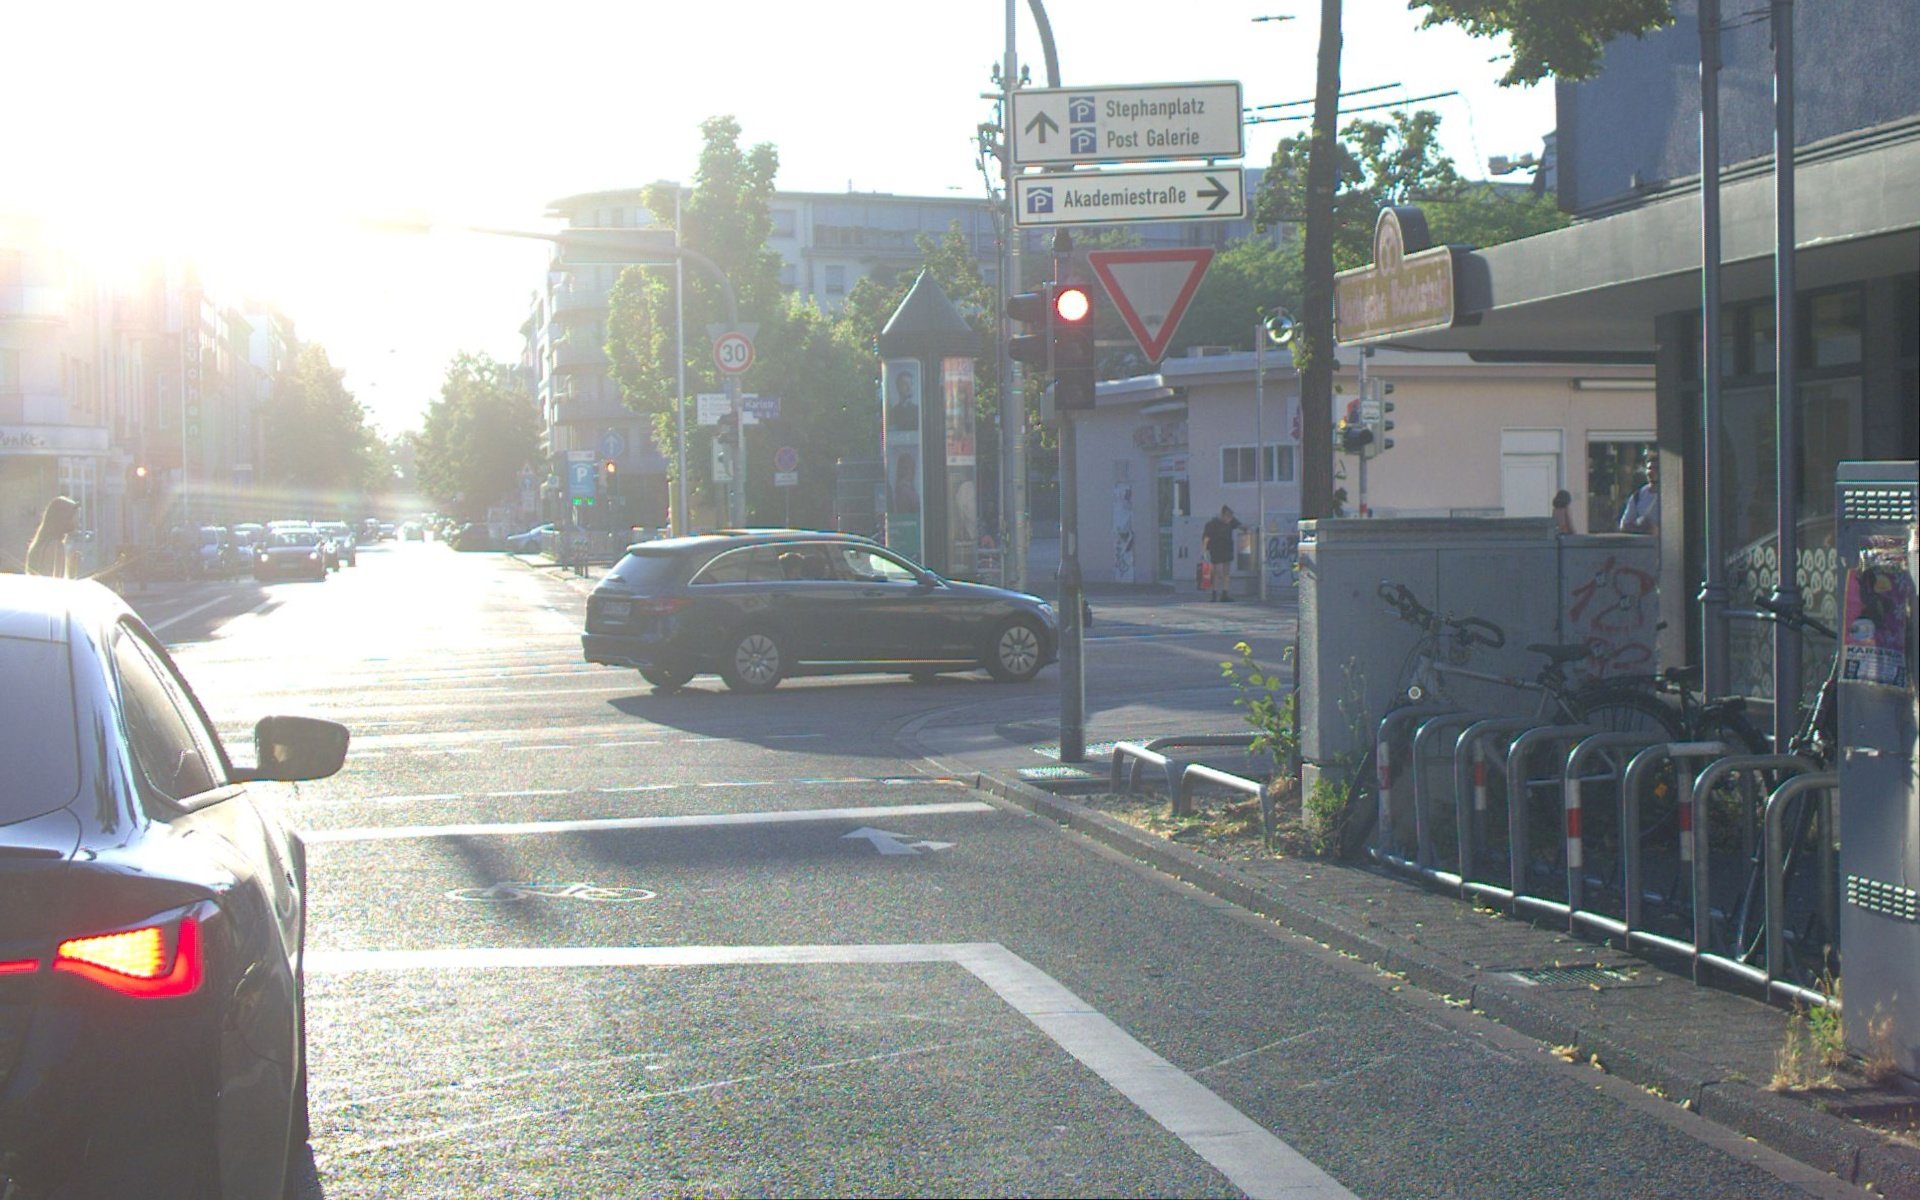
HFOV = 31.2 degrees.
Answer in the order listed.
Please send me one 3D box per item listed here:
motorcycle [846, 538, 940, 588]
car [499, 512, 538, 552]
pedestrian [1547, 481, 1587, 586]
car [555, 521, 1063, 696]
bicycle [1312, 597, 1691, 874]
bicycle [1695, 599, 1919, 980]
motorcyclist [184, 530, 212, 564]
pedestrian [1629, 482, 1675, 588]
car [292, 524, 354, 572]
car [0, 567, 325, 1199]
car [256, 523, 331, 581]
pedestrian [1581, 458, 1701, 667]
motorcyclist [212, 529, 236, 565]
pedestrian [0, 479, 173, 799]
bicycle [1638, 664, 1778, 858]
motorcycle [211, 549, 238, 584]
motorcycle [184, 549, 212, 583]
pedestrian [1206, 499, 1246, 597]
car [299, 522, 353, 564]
[{"bbox_3d":[-1.325,-0.739,67.872,1.668,0.935,0.856,-1,2,-19],"label":"motorcycle"},{"bbox_3d":[-21.244,-3.287,165.591,1.771,1.842,4.001,-1,2,-7],"label":"car"},{"bbox_3d":[10.050,-1.094,56.936,0.442,1.729,0.434,0,1,-33],"label":"pedestrian"},{"bbox_3d":[-1.367,0.029,32.000,4.406,1.468,1.818,-2,2,-33],"label":"car"},{"bbox_3d":[2.383,0.588,15.151,1.612,1.167,0.318,-1,1,-6],"label":"bicycle"},{"bbox_3d":[3.190,0.617,11.316,1.440,1.216,0.383,1,1,-7],"label":"bicycle"},{"bbox_3d":[-20.861,-1.465,94.152,0.575,0.912,2.201,1,1,-8],"label":"motorcyclist"},{"bbox_3d":[11.326,-1.065,56.268,0.478,1.729,0.531,0,1,-33],"label":"pedestrian"},{"bbox_3d":[-20.909,-1.721,112.899,1.817,1.514,4.001,-1,2,-8],"label":"car"},{"bbox_3d":[-2.113,0.670,6.488,1.736,1.424,4.225,0,1,-10],"label":"car"},{"bbox_3d":[-18.333,-1.336,94.655,1.817,1.514,4.001,-1,2,-8],"label":"car"},{"bbox_3d":[6.078,-0.338,30.677,0.837,1.835,0.677,0,2,32],"label":"pedestrian"},{"bbox_3d":[-20.045,-1.445,93.636,0.575,0.992,0.703,1,1,-8],"label":"motorcyclist"},{"bbox_3d":[-5.361,0.219,20.720,1.001,1.854,0.640,-3,2,-28],"label":"pedestrian"},{"bbox_3d":[3.335,0.704,15.372,0.249,0.793,1.116,1,1,-7],"label":"bicycle"},{"bbox_3d":[-20.061,-0.917,93.745,0.575,0.912,2.201,1,1,-8],"label":"motorcycle"},{"bbox_3d":[-20.866,-0.935,94.139,0.575,0.912,2.201,1,1,-8],"label":"motorcycle"},{"bbox_3d":[4.189,-0.817,54.154,0.471,1.524,0.735,1,1,-7],"label":"pedestrian"},{"bbox_3d":[-24.020,-2.168,130.302,1.817,1.514,4.001,-1,2,-8],"label":"car"}]
